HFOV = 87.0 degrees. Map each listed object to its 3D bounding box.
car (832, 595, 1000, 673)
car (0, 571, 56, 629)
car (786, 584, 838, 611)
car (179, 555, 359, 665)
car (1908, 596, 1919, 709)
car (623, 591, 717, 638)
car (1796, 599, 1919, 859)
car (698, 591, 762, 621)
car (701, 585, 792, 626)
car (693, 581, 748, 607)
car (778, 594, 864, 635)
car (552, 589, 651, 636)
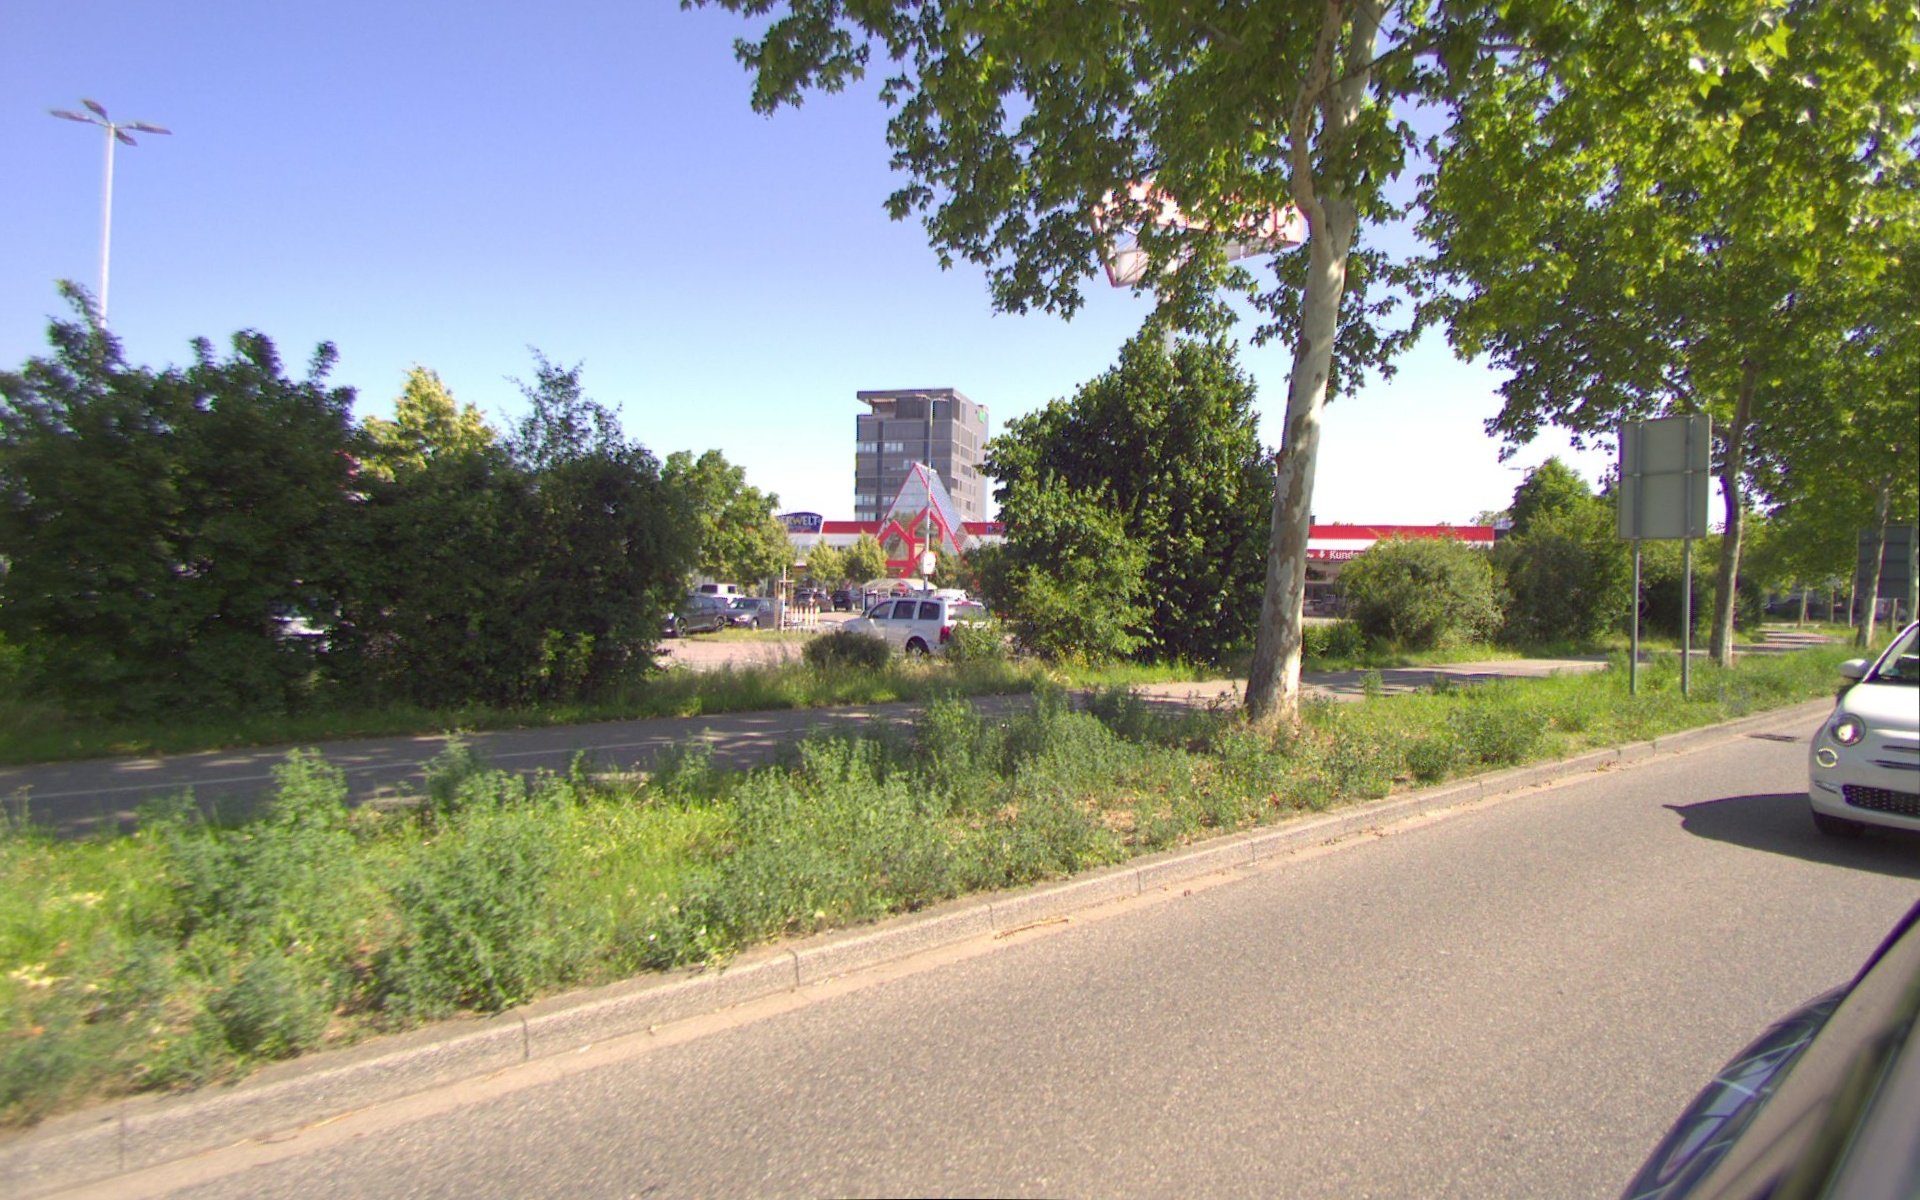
[{"bbox_3d":[-1.263,0.819,26.532,1.775,1.839,4.977,0,0,-40],"label":"car"},{"bbox_3d":[-28.809,0.017,28.998,1.967,1.672,3.989,0,0,9],"label":"car"},{"bbox_3d":[-10.343,-0.148,71.196,1.815,1.747,4.410,0,-2,19],"label":"car"},{"bbox_3d":[-12.165,0.153,17.687,2.062,1.656,4.491,0,0,-42],"label":"car"},{"bbox_3d":[16.203,0.754,15.525,4.484,1.643,1.922,0,0,-40],"label":"car"},{"bbox_3d":[-10.145,0.478,35.639,1.660,1.572,3.501,0,0,15],"label":"car"},{"bbox_3d":[7.031,0.722,6.380,3.450,1.455,1.668,0,0,-31],"label":"car"},{"bbox_3d":[-12.414,0.328,54.827,1.714,1.572,3.980,0,0,16],"label":"car"},{"bbox_3d":[-8.604,0.222,41.014,1.717,1.572,3.971,0,0,22],"label":"car"},{"bbox_3d":[-17.531,-0.426,74.282,1.815,1.747,4.410,0,-2,19],"label":"car"},{"bbox_3d":[-5.496,0.547,40.510,1.717,1.572,3.971,0,0,22],"label":"car"},{"bbox_3d":[-12.626,0.418,35.845,1.660,1.572,3.501,0,0,15],"label":"car"}]
